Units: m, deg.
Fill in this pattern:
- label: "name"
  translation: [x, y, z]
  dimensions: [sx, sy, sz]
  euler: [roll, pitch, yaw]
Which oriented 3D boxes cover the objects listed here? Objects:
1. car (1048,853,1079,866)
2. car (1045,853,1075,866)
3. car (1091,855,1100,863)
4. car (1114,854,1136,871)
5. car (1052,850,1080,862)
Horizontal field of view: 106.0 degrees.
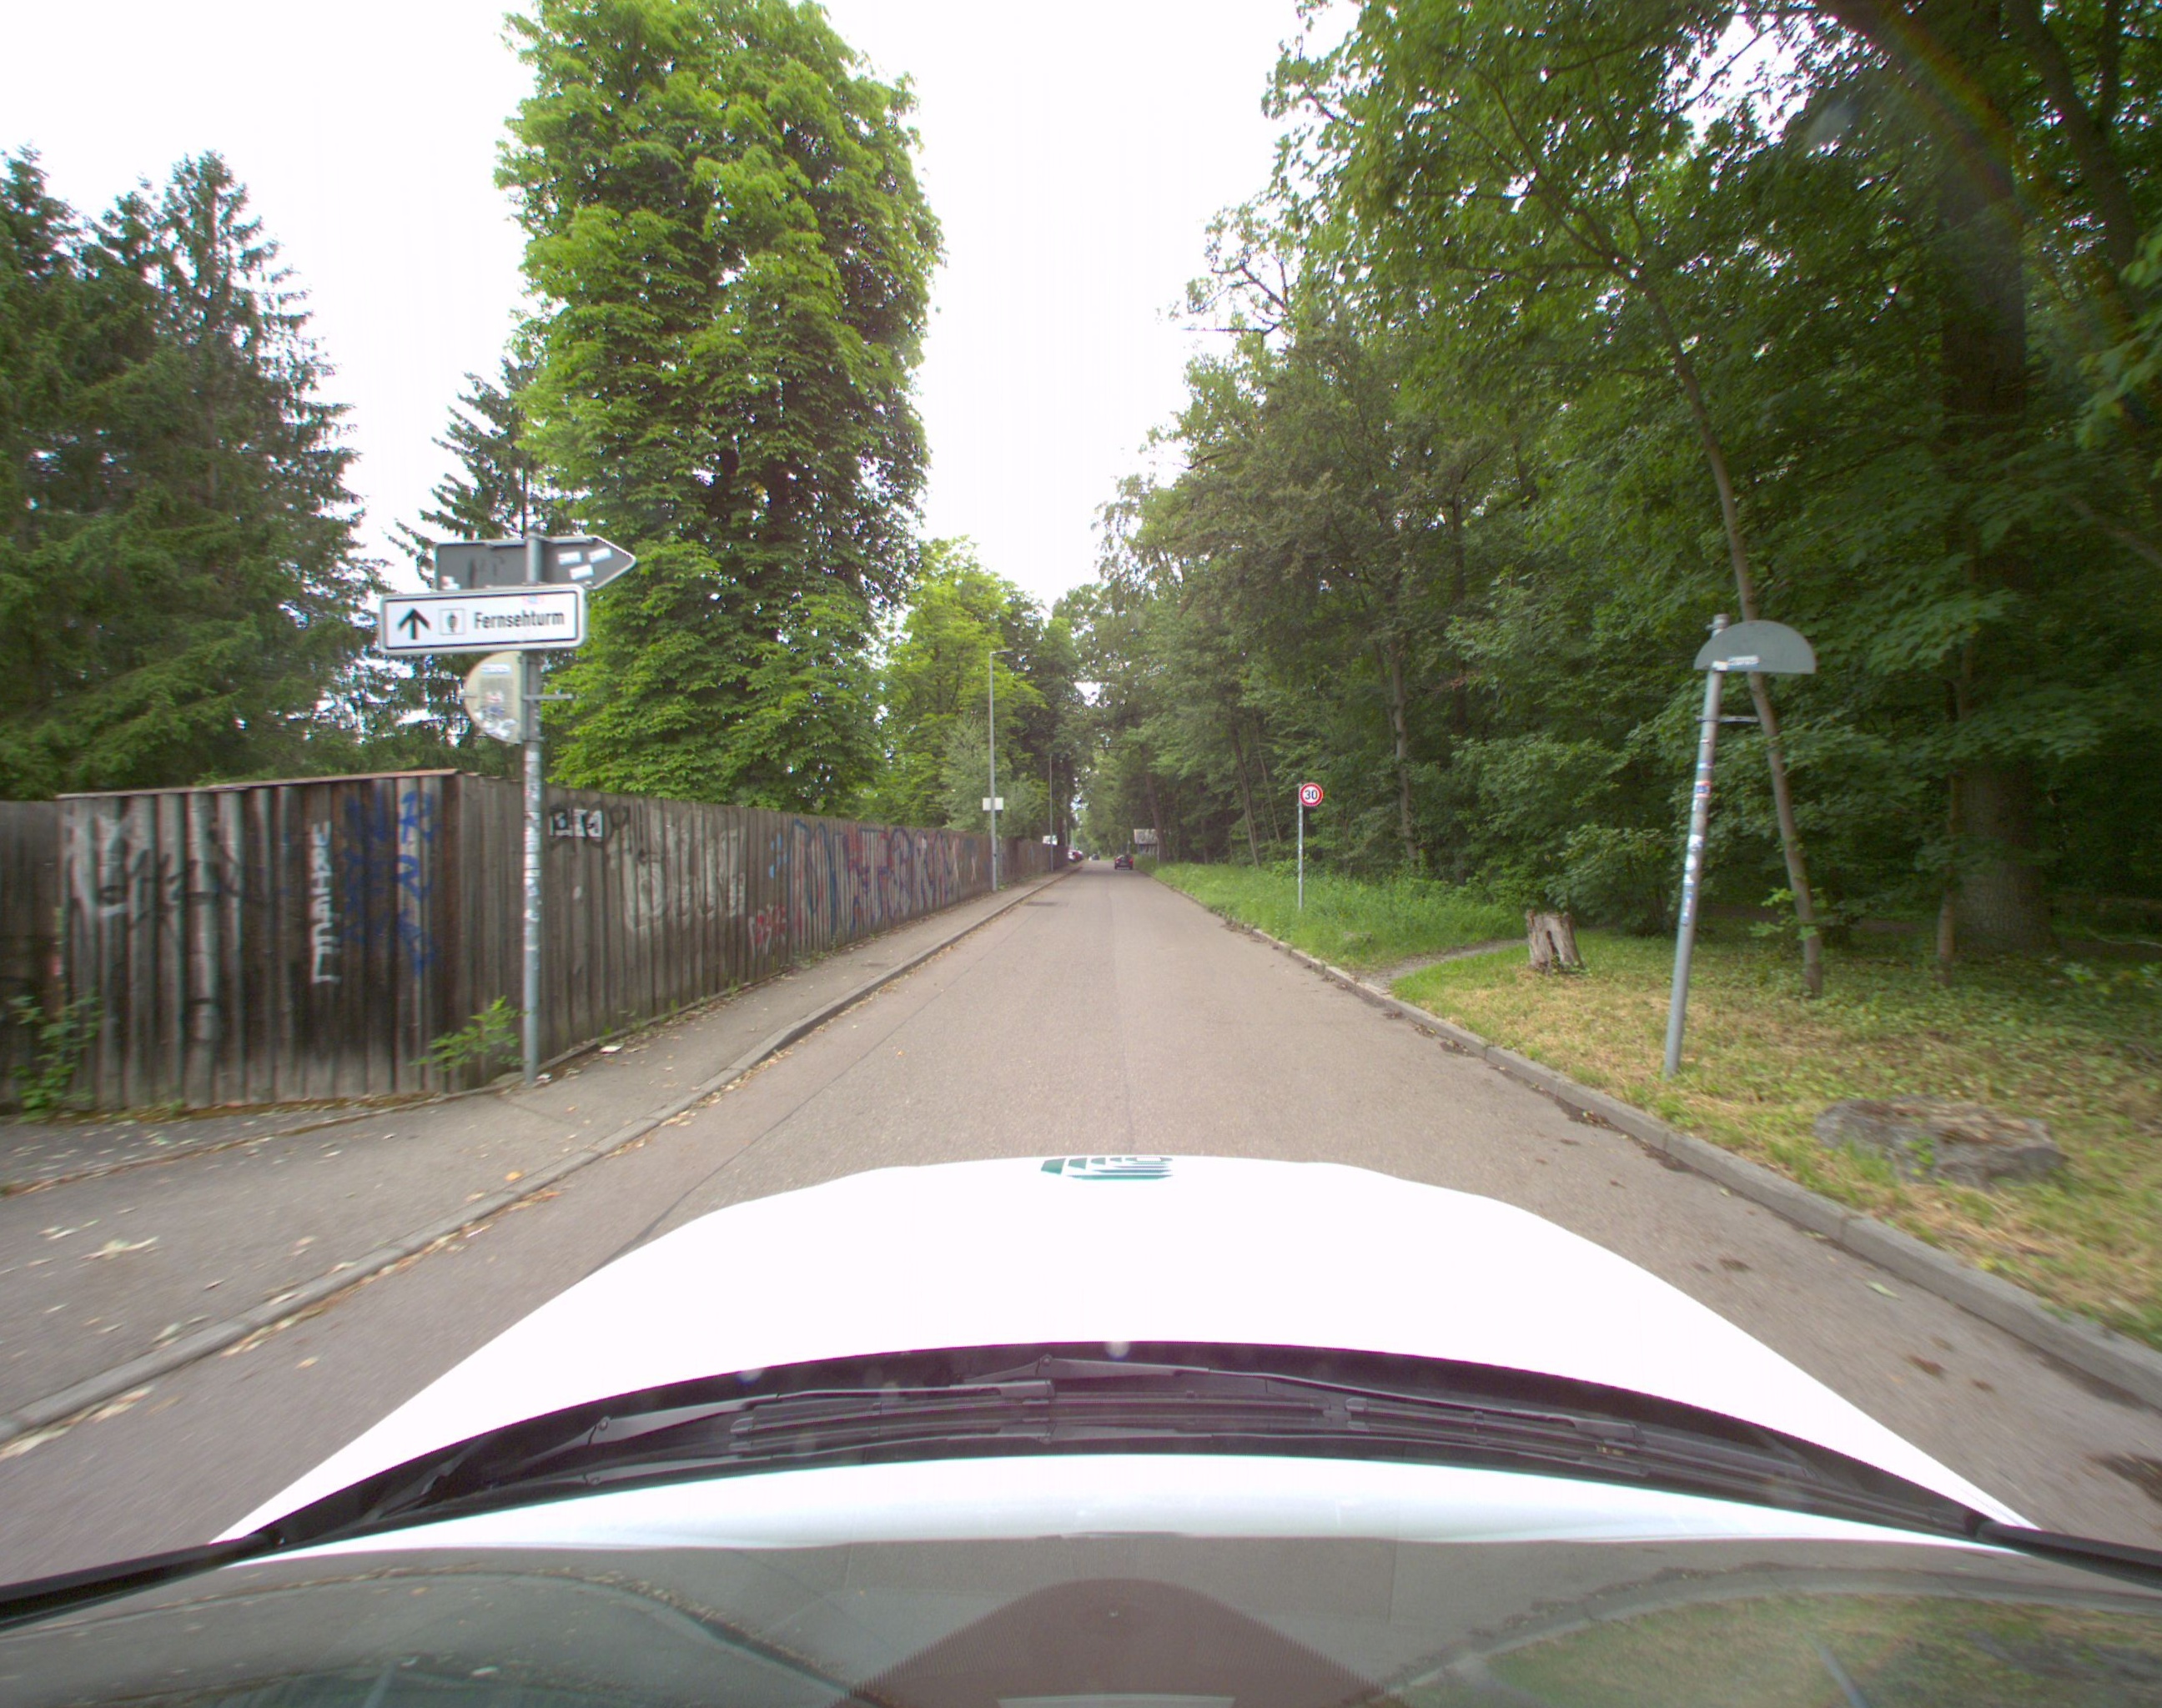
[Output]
- label: "car"
  translation: [-2.289, 0.726, 106.315]
  dimensions: [3.977, 1.574, 1.998]
  euler: [-1, 0, -3]
- label: "car"
  translation: [-2.797, 0.717, 108.656]
  dimensions: [3.977, 1.574, 1.998]
  euler: [-1, 0, -3]
- label: "car"
  translation: [3.745, 1.241, 212.125]
  dimensions: [1.990, 2.013, 3.994]
  euler: [-1, 0, -4]
- label: "car"
  translation: [4.090, 0.760, 76.132]
  dimensions: [1.900, 1.508, 4.003]
  euler: [2, 0, 3]
- label: "car"
  translation: [-2.186, 0.308, 119.027]
  dimensions: [3.977, 1.750, 1.998]
  euler: [-1, 0, -3]
